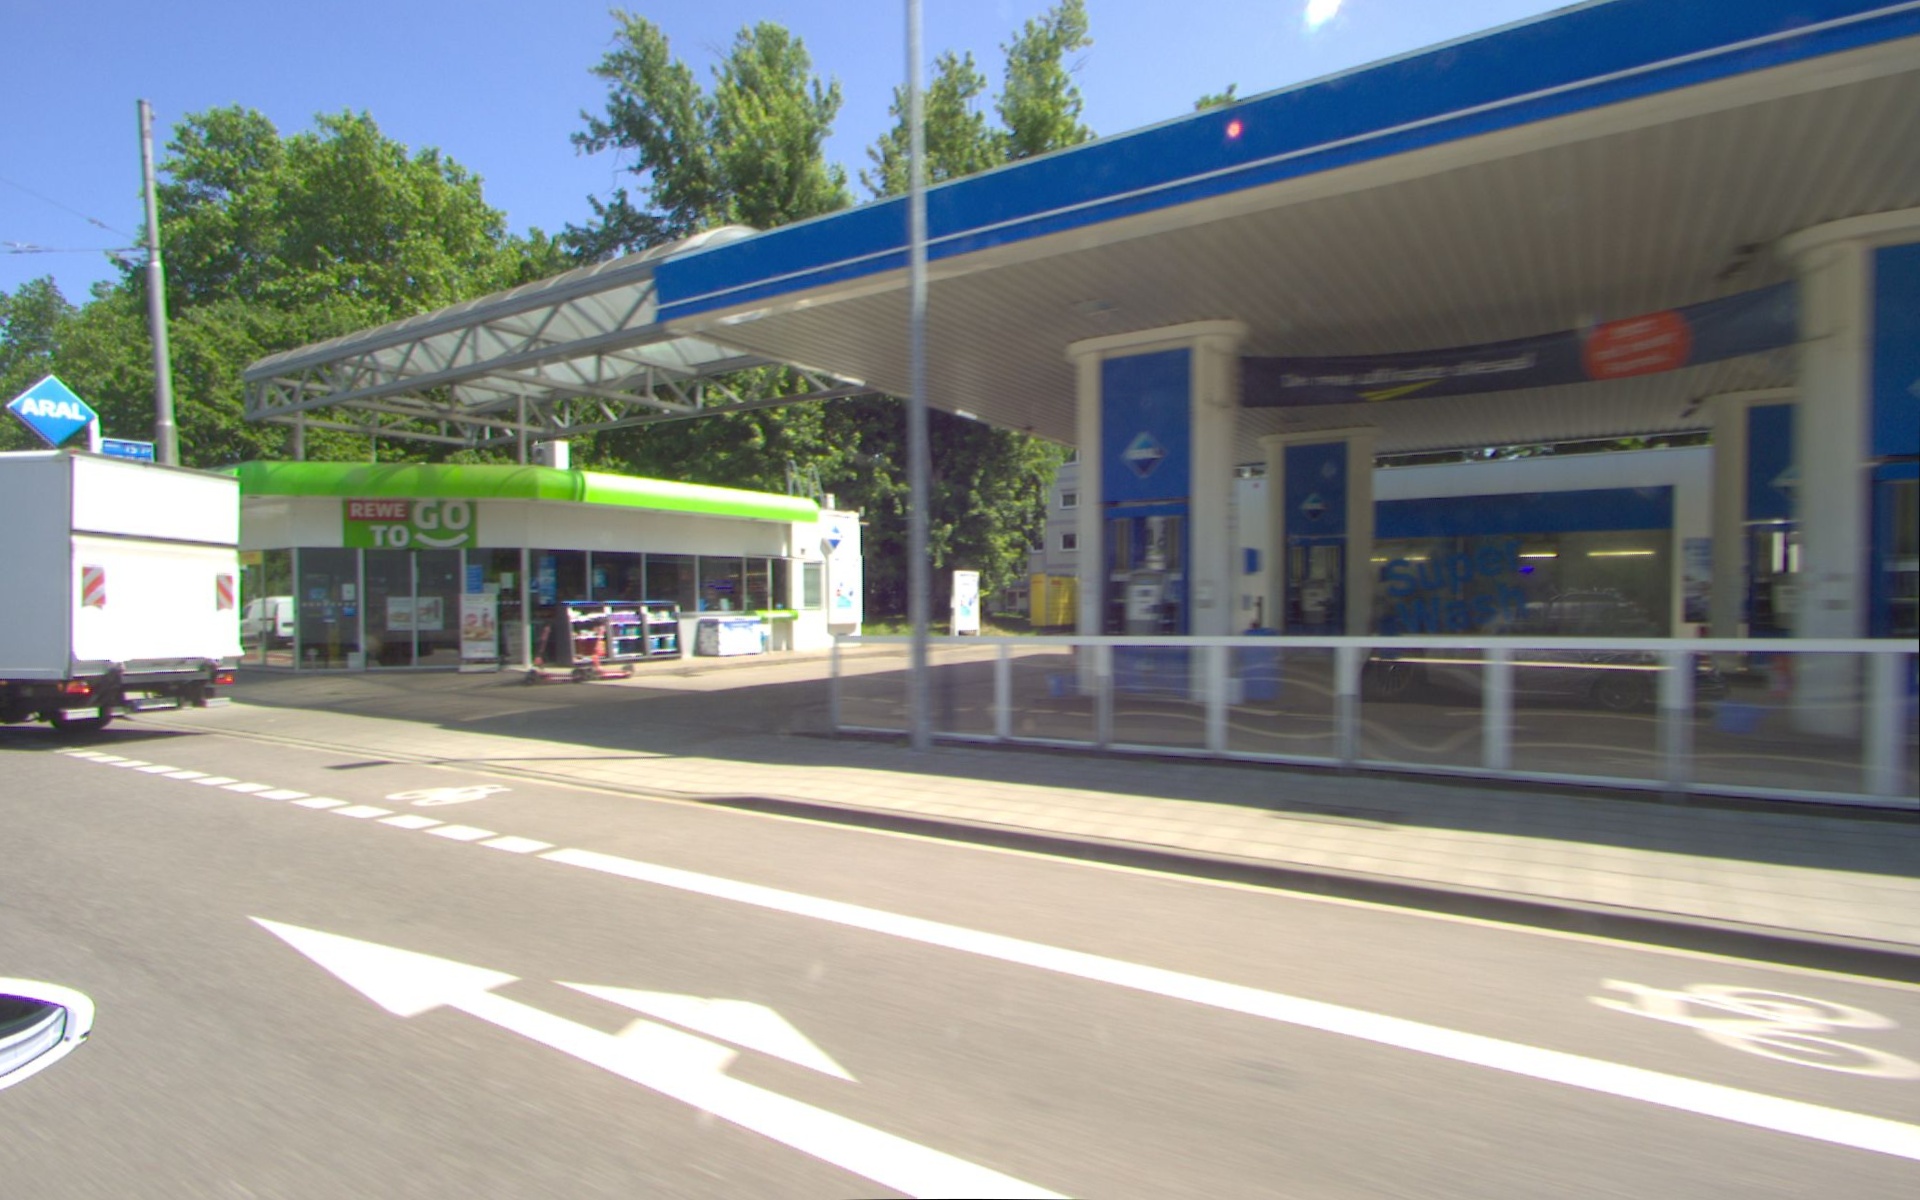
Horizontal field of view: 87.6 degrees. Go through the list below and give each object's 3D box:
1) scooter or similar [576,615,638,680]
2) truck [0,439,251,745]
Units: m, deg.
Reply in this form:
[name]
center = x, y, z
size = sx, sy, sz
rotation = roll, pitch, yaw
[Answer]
[scooter or similar]
center = -6.809, 0.899, 19.373
size = 0.378, 1.192, 1.132
rotation = 0, 1, 34
[truck]
center = -13.660, -0.074, 13.115
size = 7.684, 3.437, 2.426
rotation = 0, 1, 10
